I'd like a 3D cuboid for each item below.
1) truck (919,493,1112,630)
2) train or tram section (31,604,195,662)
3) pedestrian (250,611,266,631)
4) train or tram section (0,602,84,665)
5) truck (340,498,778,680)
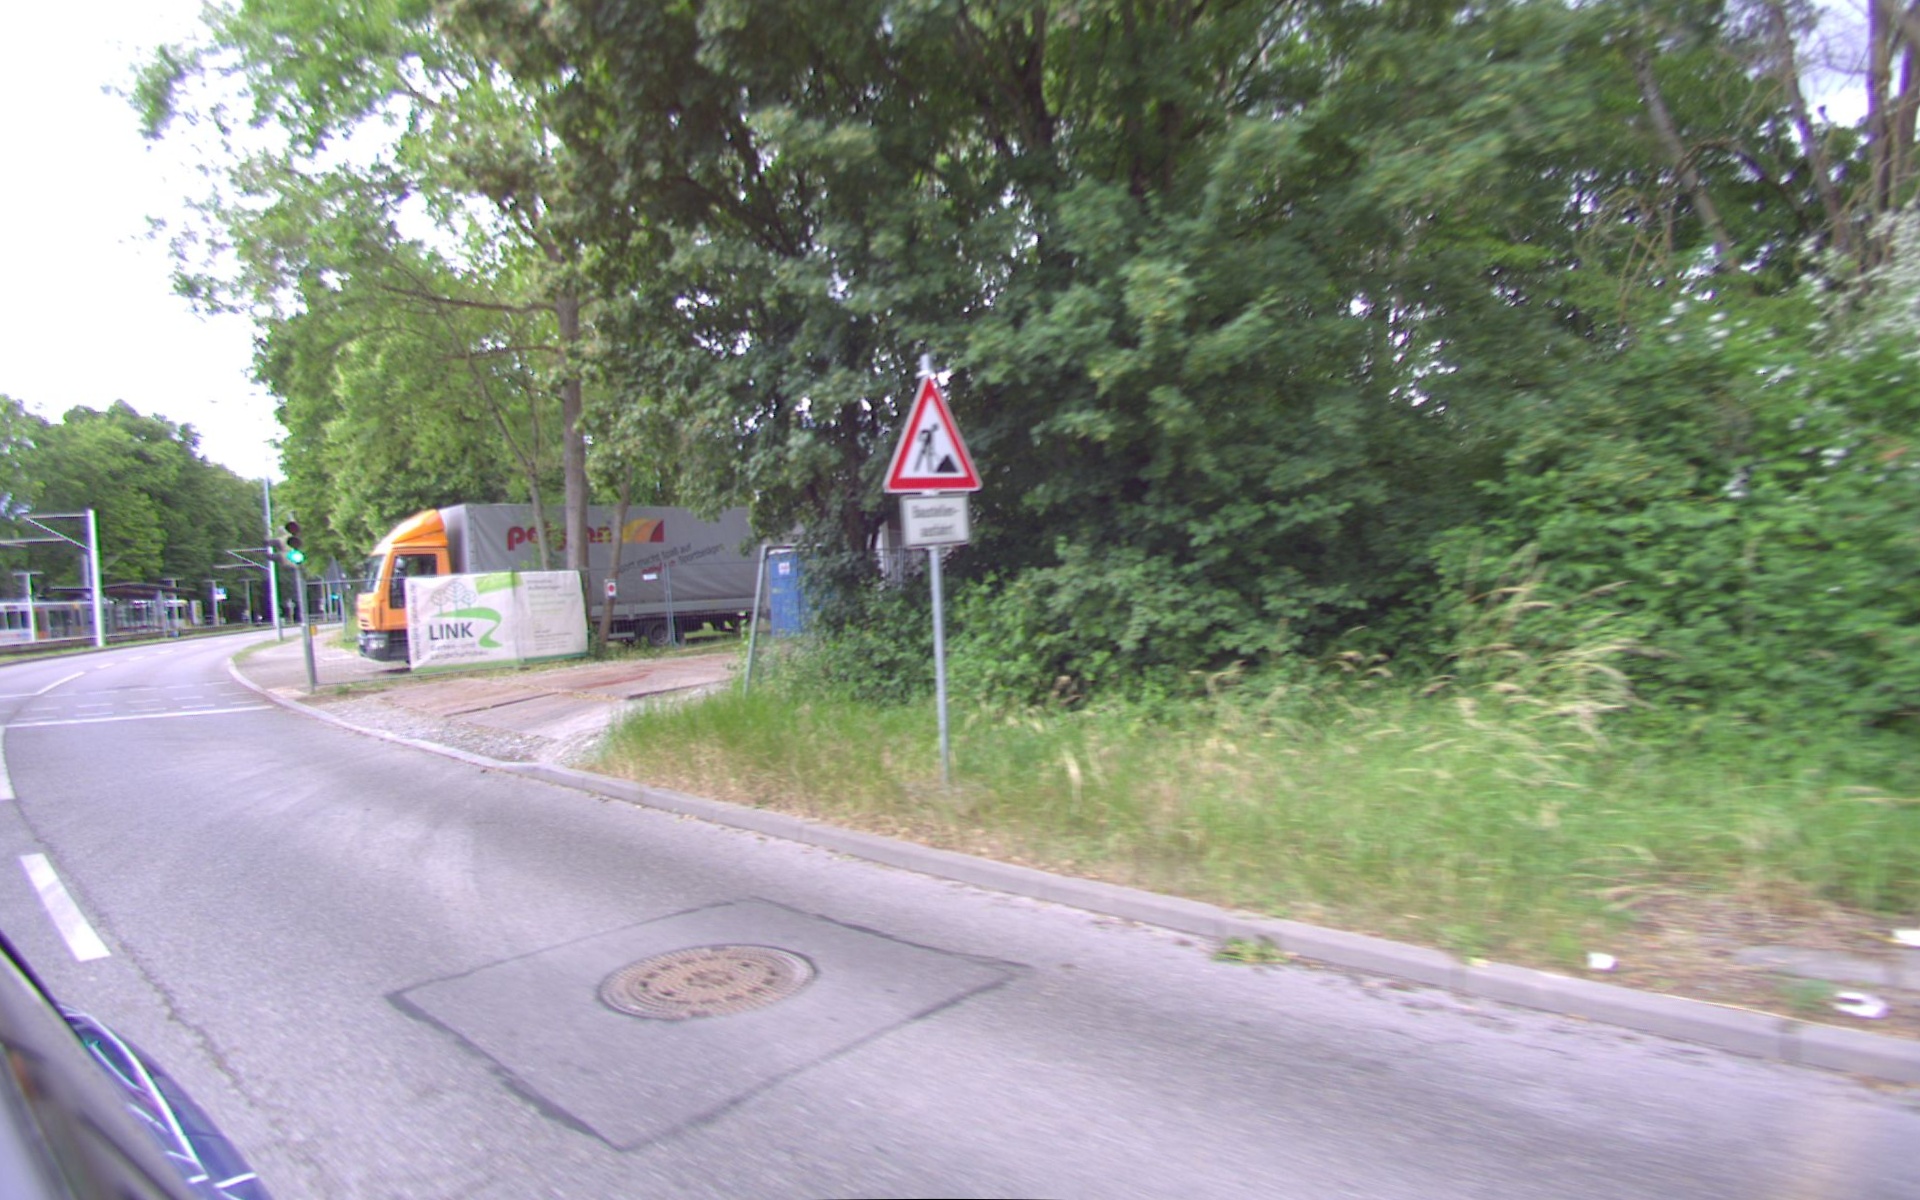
[{"bbox_3d":[1.691,-1.041,27.751,2.447,3.223,5.848,-5,0,34],"label":"truck"},{"bbox_3d":[-66.605,2.372,80.477,2.775,3.764,18.588,-5,1,-17],"label":"train or tram section"},{"bbox_3d":[-66.990,2.016,96.582,0.970,1.770,0.732,-5,0,-27],"label":"pedestrian"},{"bbox_3d":[-60.424,2.175,62.556,2.775,3.826,18.994,-6,2,-20],"label":"train or tram section"},{"bbox_3d":[-9.065,-0.491,23.933,9.116,3.557,2.570,-5,2,-39],"label":"truck"}]
